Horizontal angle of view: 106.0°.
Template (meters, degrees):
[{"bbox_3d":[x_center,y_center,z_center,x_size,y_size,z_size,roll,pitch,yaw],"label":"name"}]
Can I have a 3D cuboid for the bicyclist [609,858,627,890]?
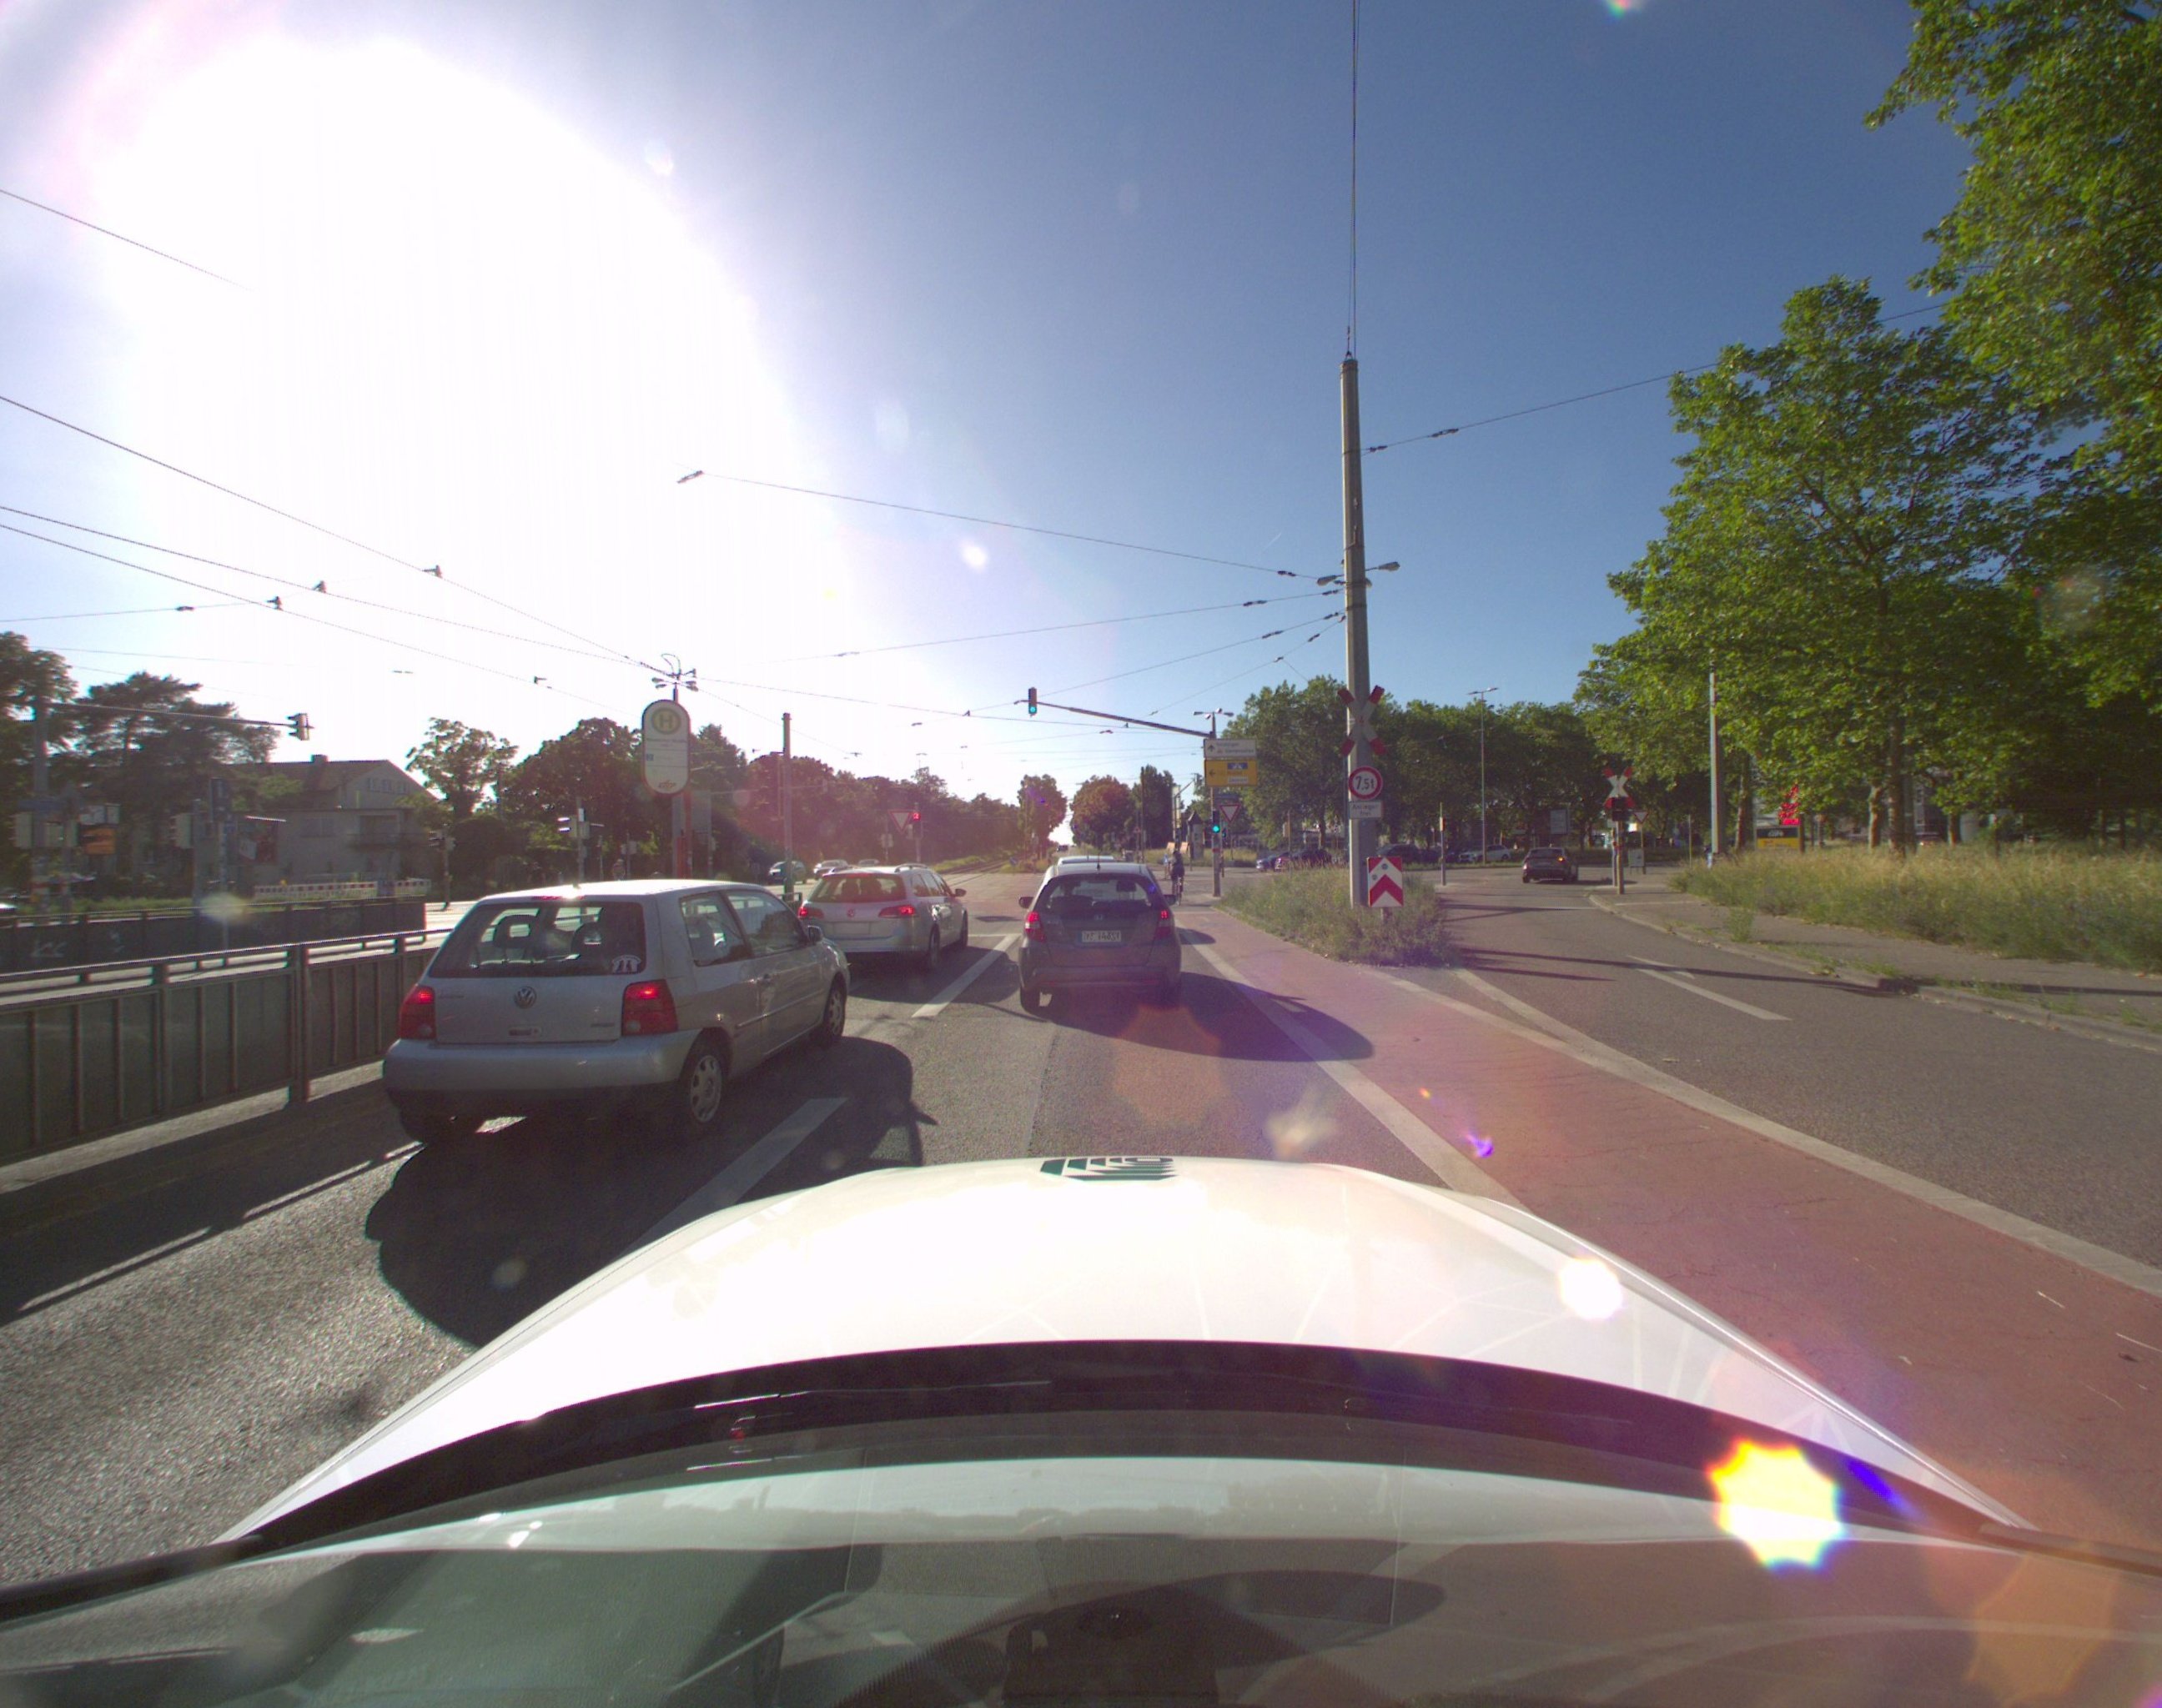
[{"bbox_3d":[-23.451,0.991,41.268,0.487,1.608,0.648,-2,0,1],"label":"bicyclist"}]

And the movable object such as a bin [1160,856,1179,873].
[{"bbox_3d":[5.769,0.691,53.294,0.908,1.068,1.313,-2,0,-8],"label":"movable object such as a bin"}]

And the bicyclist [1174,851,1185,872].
[{"bbox_3d":[6.281,0.490,51.868,0.509,1.340,0.563,-1,0,-8],"label":"bicyclist"}]

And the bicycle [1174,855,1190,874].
[{"bbox_3d":[6.358,0.657,51.269,0.466,1.119,1.815,-1,0,-8],"label":"bicycle"}]

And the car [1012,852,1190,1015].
[{"bbox_3d":[0.248,0.770,9.640,1.664,1.515,3.675,-2,0,2],"label":"car"}]

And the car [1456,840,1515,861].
[{"bbox_3d":[33.514,-0.262,67.420,4.785,1.682,1.892,0,-1,-26],"label":"car"}]

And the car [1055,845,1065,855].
[{"bbox_3d":[-4.436,-0.750,173.588,1.987,2.013,4.000,-2,0,0],"label":"car"}]

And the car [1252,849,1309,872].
[{"bbox_3d":[14.564,0.469,59.477,3.869,1.600,1.698,-2,0,-27],"label":"car"}]

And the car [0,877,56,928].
[{"bbox_3d":[-33.859,1.479,23.894,4.258,1.466,1.921,-1,0,-27],"label":"car"}]

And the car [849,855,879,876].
[{"bbox_3d":[-18.461,0.970,69.546,1.788,1.687,3.994,-2,0,-5],"label":"car"}]

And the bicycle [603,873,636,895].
[{"bbox_3d":[-23.436,1.491,41.410,0.505,1.042,1.949,-2,0,1],"label":"bicycle"}]

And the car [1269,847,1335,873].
[{"bbox_3d":[15.001,0.382,55.311,4.095,1.600,1.802,-2,0,-23],"label":"car"}]

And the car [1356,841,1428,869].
[{"bbox_3d":[20.603,0.046,53.875,4.504,1.711,1.904,-2,0,-27],"label":"car"}]

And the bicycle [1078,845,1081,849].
[{"bbox_3d":[-0.397,-1.981,228.143,0.815,1.048,2.506,0,-1,1],"label":"bicycle"}]

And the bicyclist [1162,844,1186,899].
[{"bbox_3d":[2.941,0.551,25.764,0.613,1.679,0.933,-2,0,0],"label":"bicyclist"}]

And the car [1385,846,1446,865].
[{"bbox_3d":[26.462,0.116,64.442,4.579,1.408,1.918,-2,0,-26],"label":"car"}]

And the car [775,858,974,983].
[{"bbox_3d":[-2.912,0.848,12.554,1.871,1.527,4.420,-2,0,0],"label":"car"}]

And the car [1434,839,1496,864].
[{"bbox_3d":[33.660,-0.229,71.291,5.128,2.070,2.113,-1,0,-25],"label":"car"}]

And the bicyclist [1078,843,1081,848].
[{"bbox_3d":[-0.390,-2.346,228.168,0.815,1.524,0.966,0,-1,0],"label":"bicyclist"}]

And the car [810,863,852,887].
[{"bbox_3d":[-18.889,1.557,61.744,1.808,1.596,4.690,-1,0,-1],"label":"car"}]

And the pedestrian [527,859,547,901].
[{"bbox_3d":[-25.892,1.214,38.757,0.615,1.948,0.767,-1,0,-43],"label":"pedestrian"}]

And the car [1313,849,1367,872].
[{"bbox_3d":[19.680,0.468,61.905,3.869,1.600,1.698,-2,0,-27],"label":"car"}]

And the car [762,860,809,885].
[{"bbox_3d":[-18.626,1.163,51.523,1.679,1.458,3.701,-2,0,-2],"label":"car"}]

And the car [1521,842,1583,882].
[{"bbox_3d":[21.164,0.312,36.525,1.803,1.704,3.797,-1,0,40],"label":"car"}]

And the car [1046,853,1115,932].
[{"bbox_3d":[-0.001,0.768,17.818,1.347,1.527,3.123,-2,0,0],"label":"car"}]

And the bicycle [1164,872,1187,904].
[{"bbox_3d":[2.996,1.057,25.998,0.522,0.923,2.090,-2,0,2],"label":"bicycle"}]

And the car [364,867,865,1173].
[{"bbox_3d":[-2.817,0.865,5.833,1.576,1.468,3.414,-1,0,0],"label":"car"}]

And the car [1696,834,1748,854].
[{"bbox_3d":[55.637,-0.841,70.722,4.008,1.618,1.983,-2,0,-26],"label":"car"}]
